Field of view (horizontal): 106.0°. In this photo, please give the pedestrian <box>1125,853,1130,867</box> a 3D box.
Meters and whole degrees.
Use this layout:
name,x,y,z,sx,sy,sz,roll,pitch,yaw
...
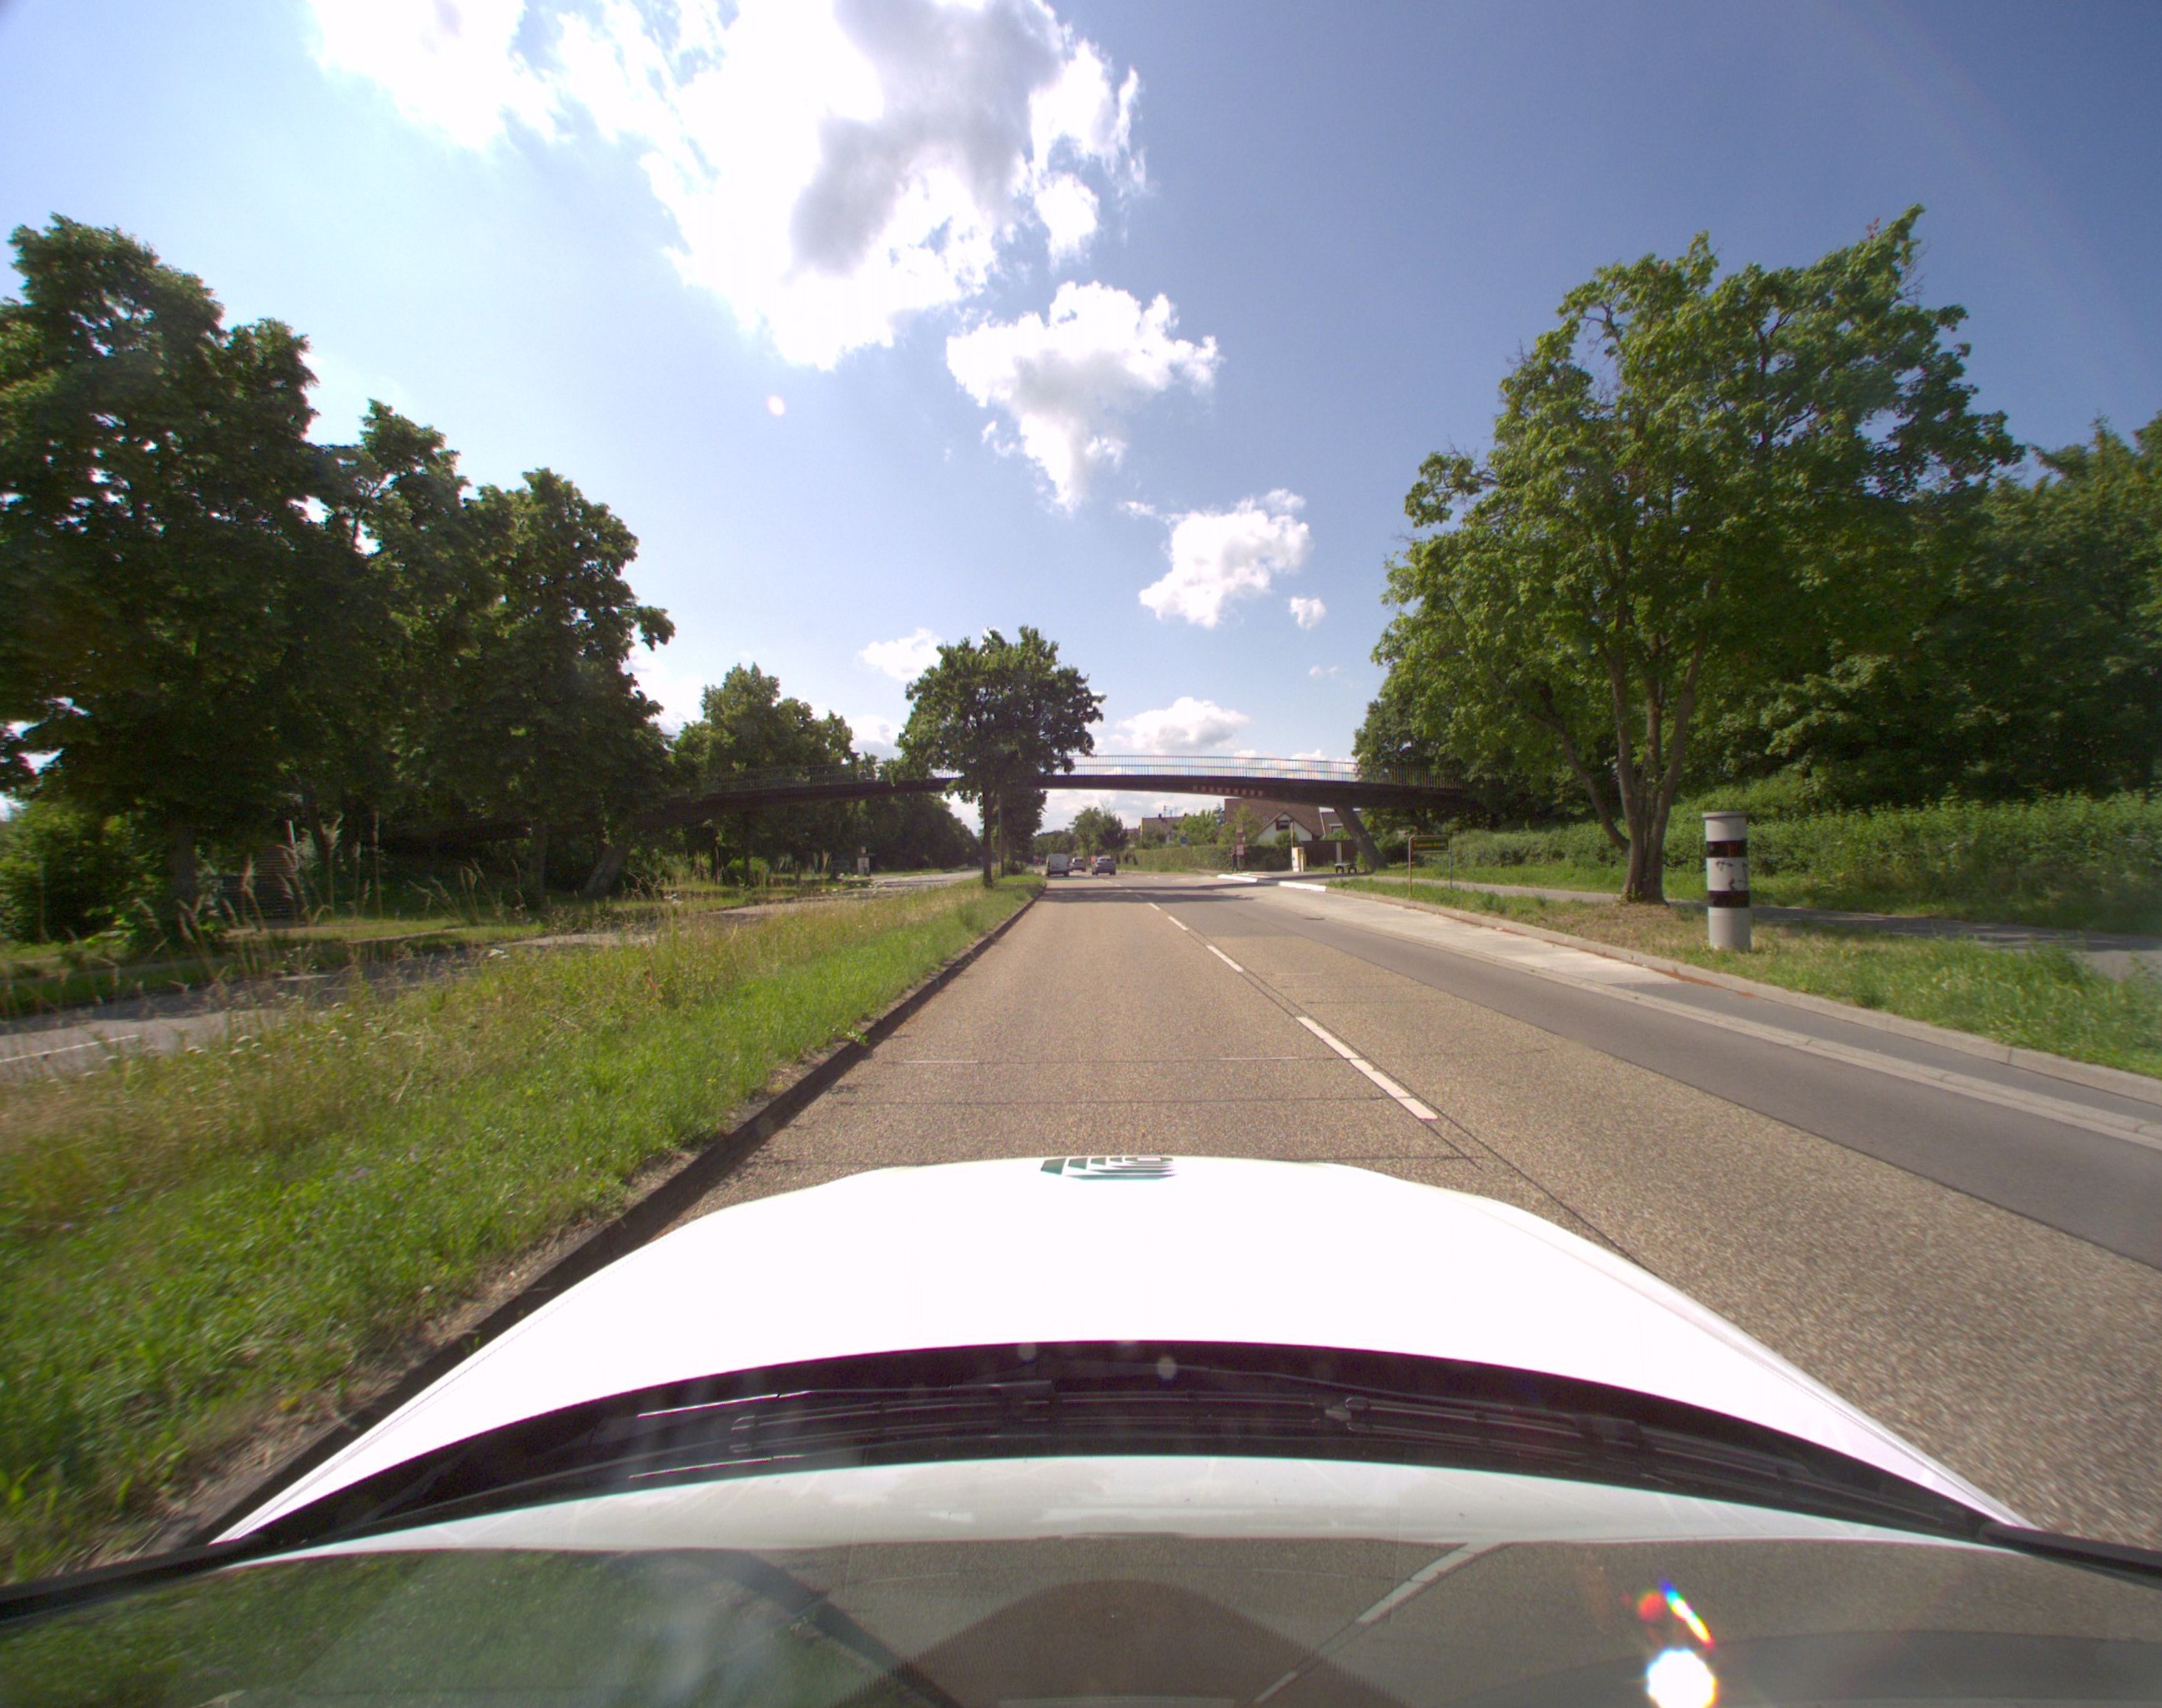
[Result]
name,x,y,z,sx,sy,sz,roll,pitch,yaw
pedestrian,6.062,0.778,105.830,0.559,1.677,0.633,-1,-1,-6

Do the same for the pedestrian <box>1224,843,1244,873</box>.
name,x,y,z,sx,sy,sz,roll,pitch,yaw
pedestrian,9.783,0.242,52.172,0.952,1.824,1.086,-3,-3,-3

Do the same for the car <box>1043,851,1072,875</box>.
name,x,y,z,sx,sy,sz,roll,pitch,yaw
car,-1.985,0.729,67.363,2.063,1.912,4.637,-1,0,-6

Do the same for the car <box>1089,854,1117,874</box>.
name,x,y,z,sx,sy,sz,roll,pitch,yaw
car,1.837,0.859,70.144,1.872,1.589,4.176,-2,-1,-5

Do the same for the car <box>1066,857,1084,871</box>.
name,x,y,z,sx,sy,sz,roll,pitch,yaw
car,-0.732,1.175,98.341,1.872,1.652,3.992,-2,-1,-5
